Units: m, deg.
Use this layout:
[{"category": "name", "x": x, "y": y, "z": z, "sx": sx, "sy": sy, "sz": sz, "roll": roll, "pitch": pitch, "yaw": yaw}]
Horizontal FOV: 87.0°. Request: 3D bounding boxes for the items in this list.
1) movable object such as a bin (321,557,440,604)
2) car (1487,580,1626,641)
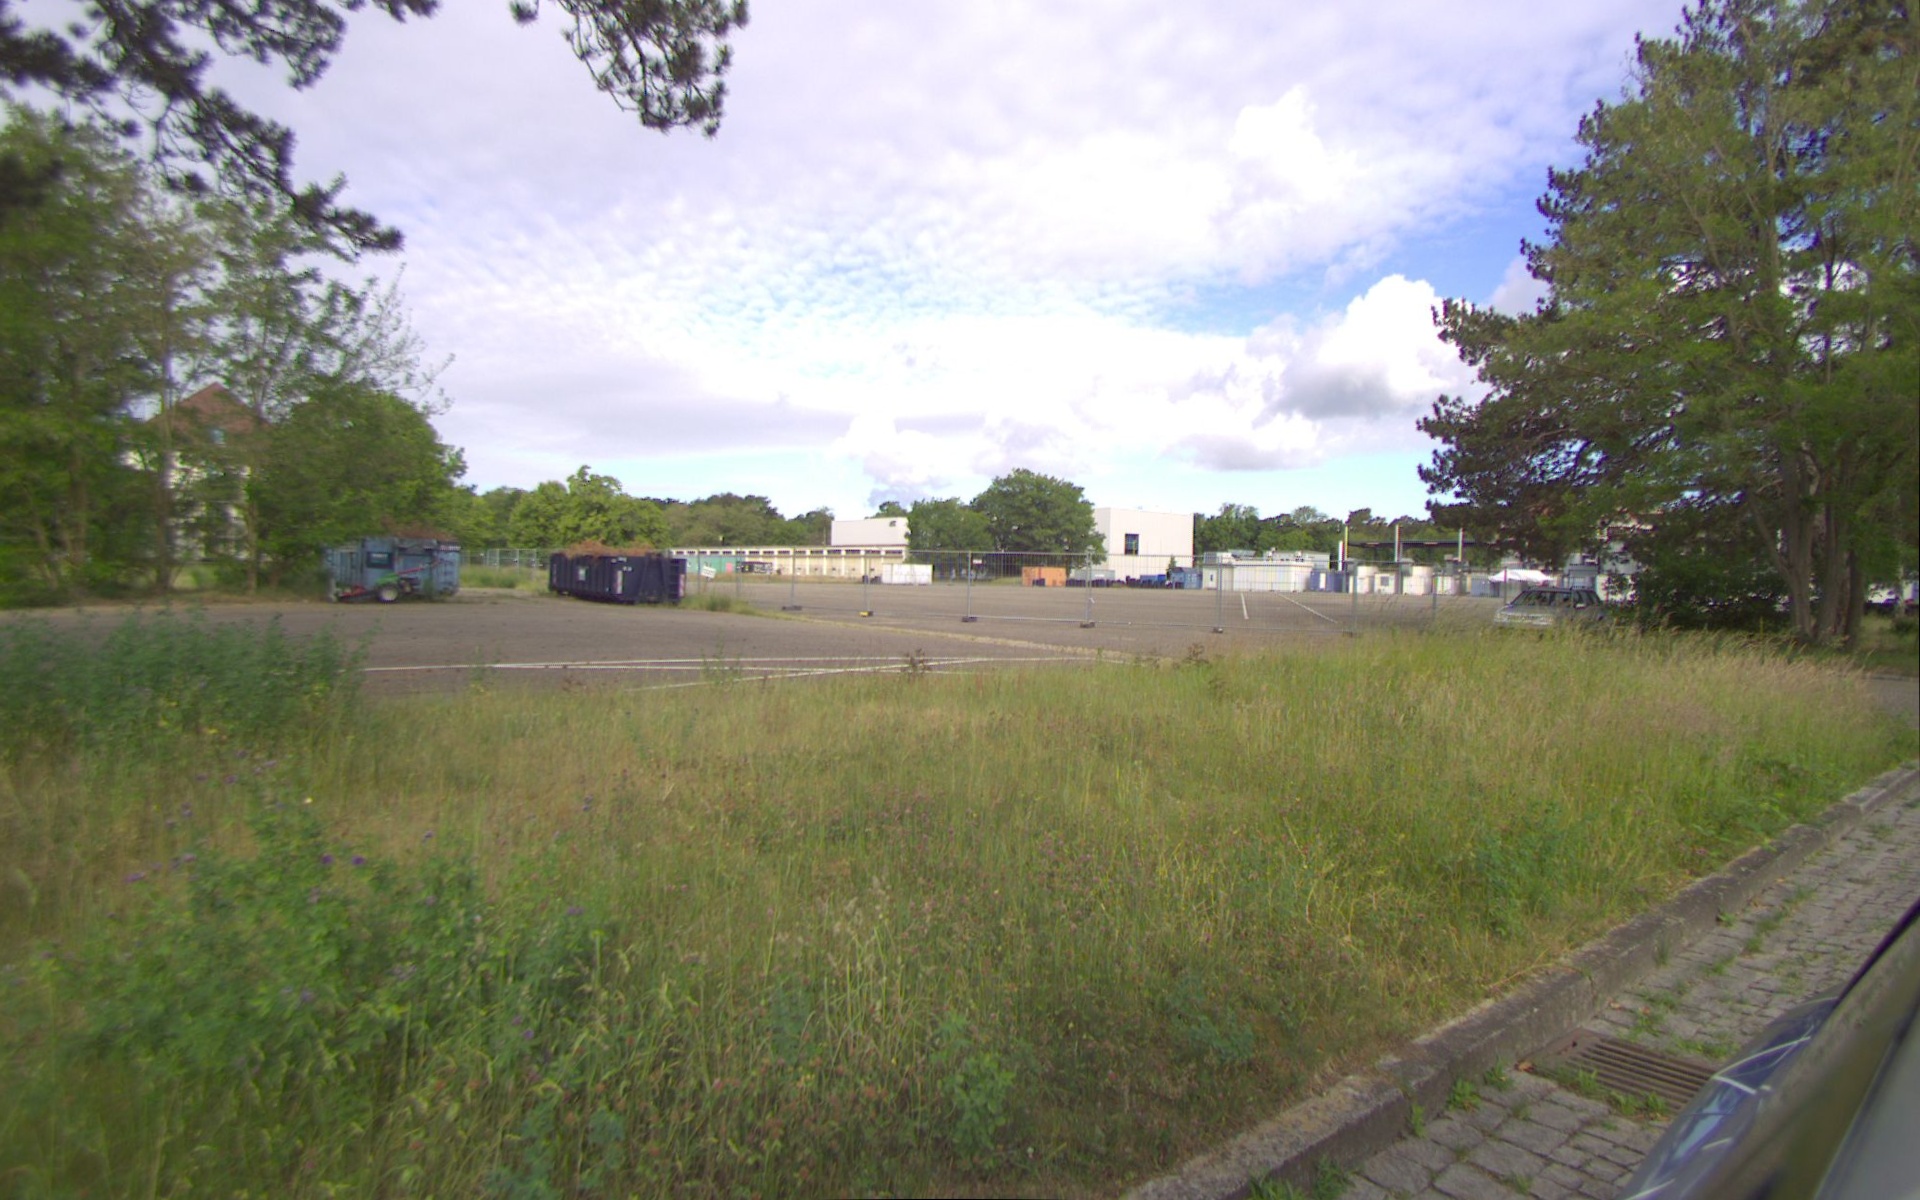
[{"category": "movable object such as a bin", "x": -14.913, "y": -0.496, "z": 26.089, "sx": 2.498, "sy": 1.097, "sz": 1.064, "roll": 2, "pitch": 1, "yaw": -41}, {"category": "car", "x": 15.867, "y": 0.256, "z": 26.836, "sx": 4.248, "sy": 1.466, "sz": 1.760, "roll": 0, "pitch": 2, "yaw": -39}]
